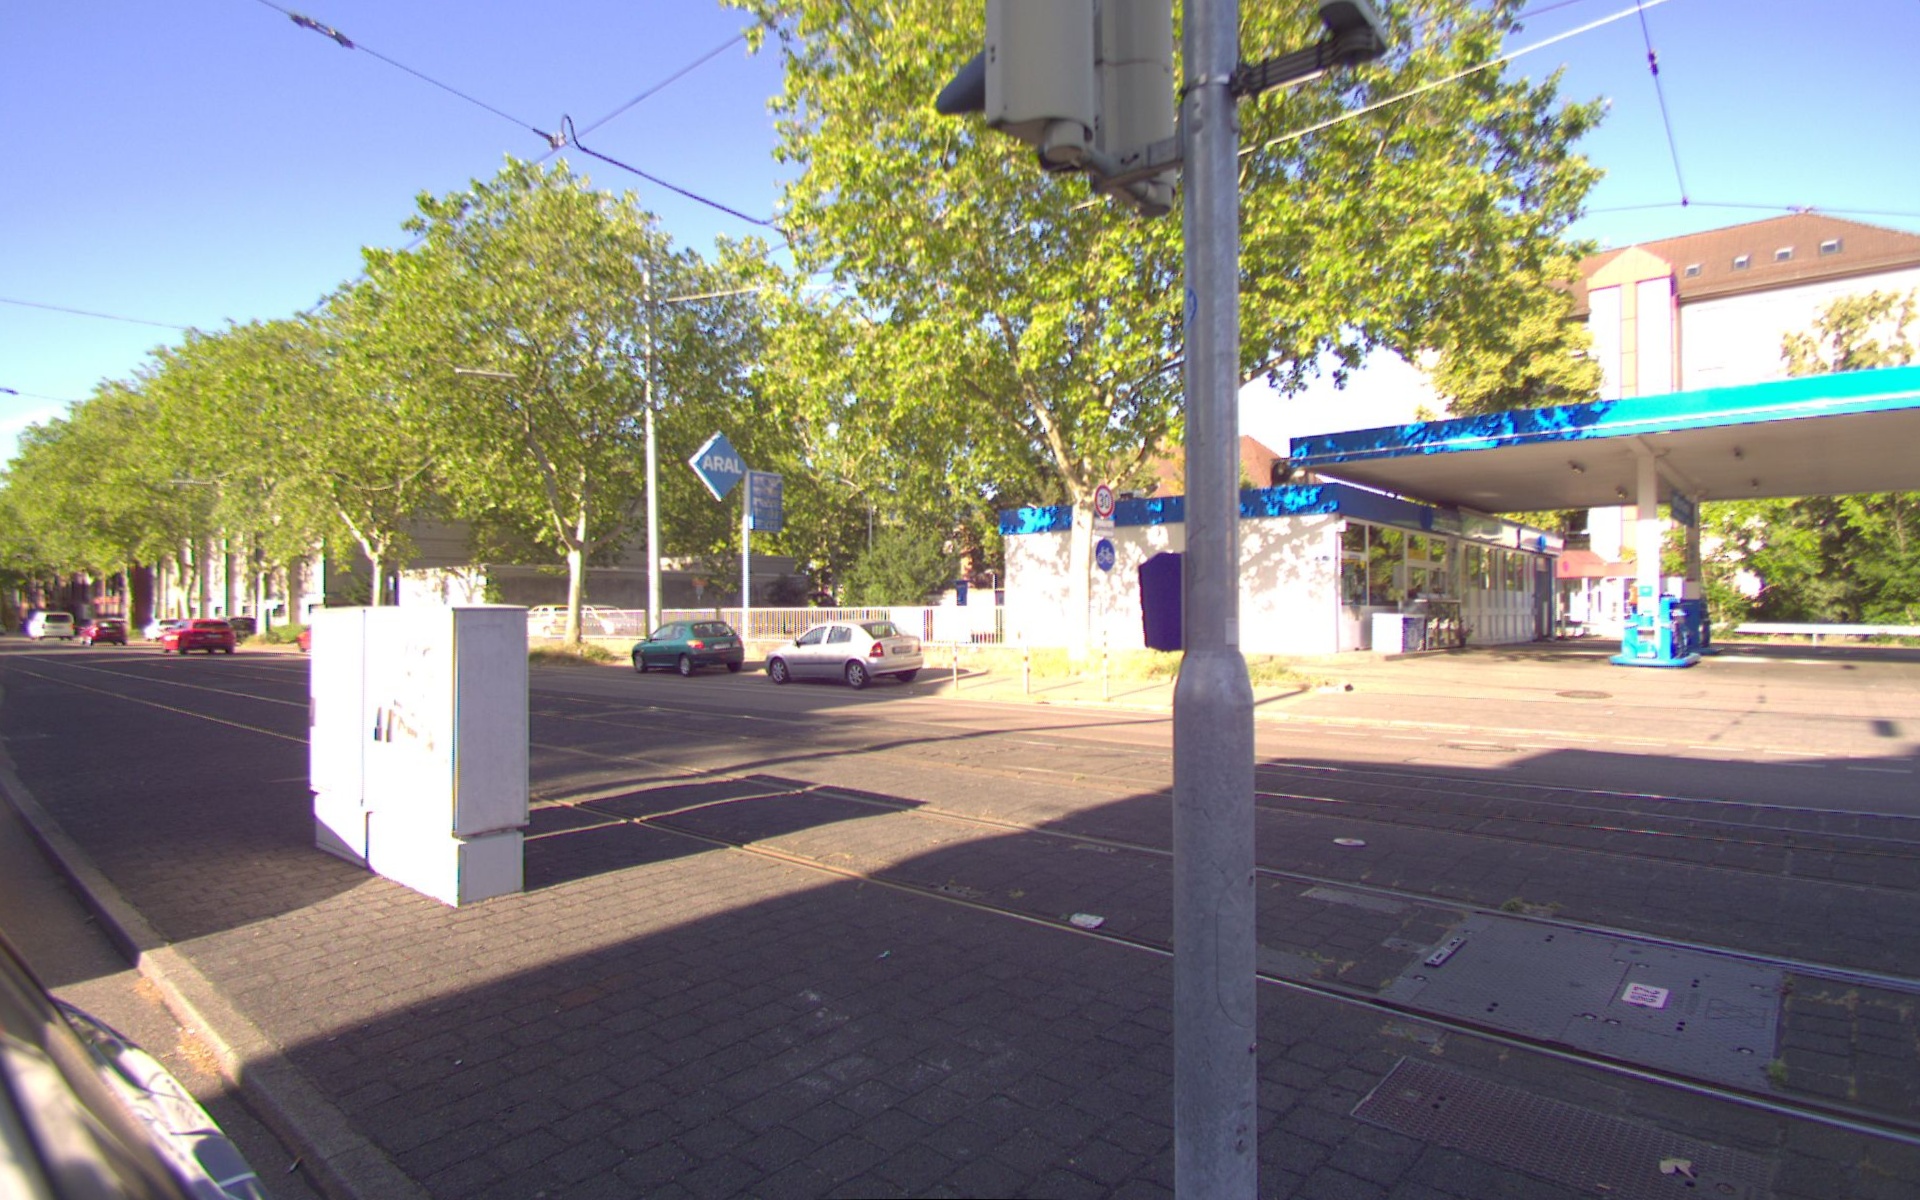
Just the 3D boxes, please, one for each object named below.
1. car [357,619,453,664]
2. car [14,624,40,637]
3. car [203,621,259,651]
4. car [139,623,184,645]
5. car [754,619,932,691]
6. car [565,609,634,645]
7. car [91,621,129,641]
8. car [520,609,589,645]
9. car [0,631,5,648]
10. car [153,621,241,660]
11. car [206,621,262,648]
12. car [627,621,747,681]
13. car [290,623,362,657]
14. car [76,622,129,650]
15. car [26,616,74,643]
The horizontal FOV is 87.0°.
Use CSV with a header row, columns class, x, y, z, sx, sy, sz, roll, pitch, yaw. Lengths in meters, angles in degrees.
class,x,y,z,sx,sy,sz,roll,pitch,yaw
car,-22.027,1.606,40.096,4.431,1.534,1.731,-1,3,40
car,-103.224,3.394,111.968,3.998,1.420,1.678,-1,-2,41
car,-40.729,1.985,56.532,3.998,1.587,1.678,-1,-2,41
car,-53.804,2.295,68.196,3.998,1.420,1.678,-1,-2,41
car,-2.682,1.162,22.646,3.998,1.431,1.709,-1,0,41
car,-15.298,1.108,42.931,3.151,1.431,1.525,-1,0,44
car,-66.806,2.419,79.544,3.998,1.569,1.678,-1,-2,41
car,-16.862,1.101,42.007,3.151,1.431,1.525,-1,0,44
car,-91.151,3.750,95.066,3.998,1.507,1.741,-1,0,41
car,-31.834,1.647,42.157,4.761,1.534,1.887,-1,-2,40
car,-40.594,1.893,56.573,3.998,1.420,1.678,-1,-2,41
car,-7.287,1.306,26.889,3.253,1.431,1.526,-1,0,41
car,-28.979,1.791,46.214,3.998,1.480,1.678,-1,-2,41
car,-48.591,2.025,57.317,3.998,1.431,1.678,-1,-4,41
car,-63.496,2.035,70.566,4.390,1.860,1.827,-1,-2,39
